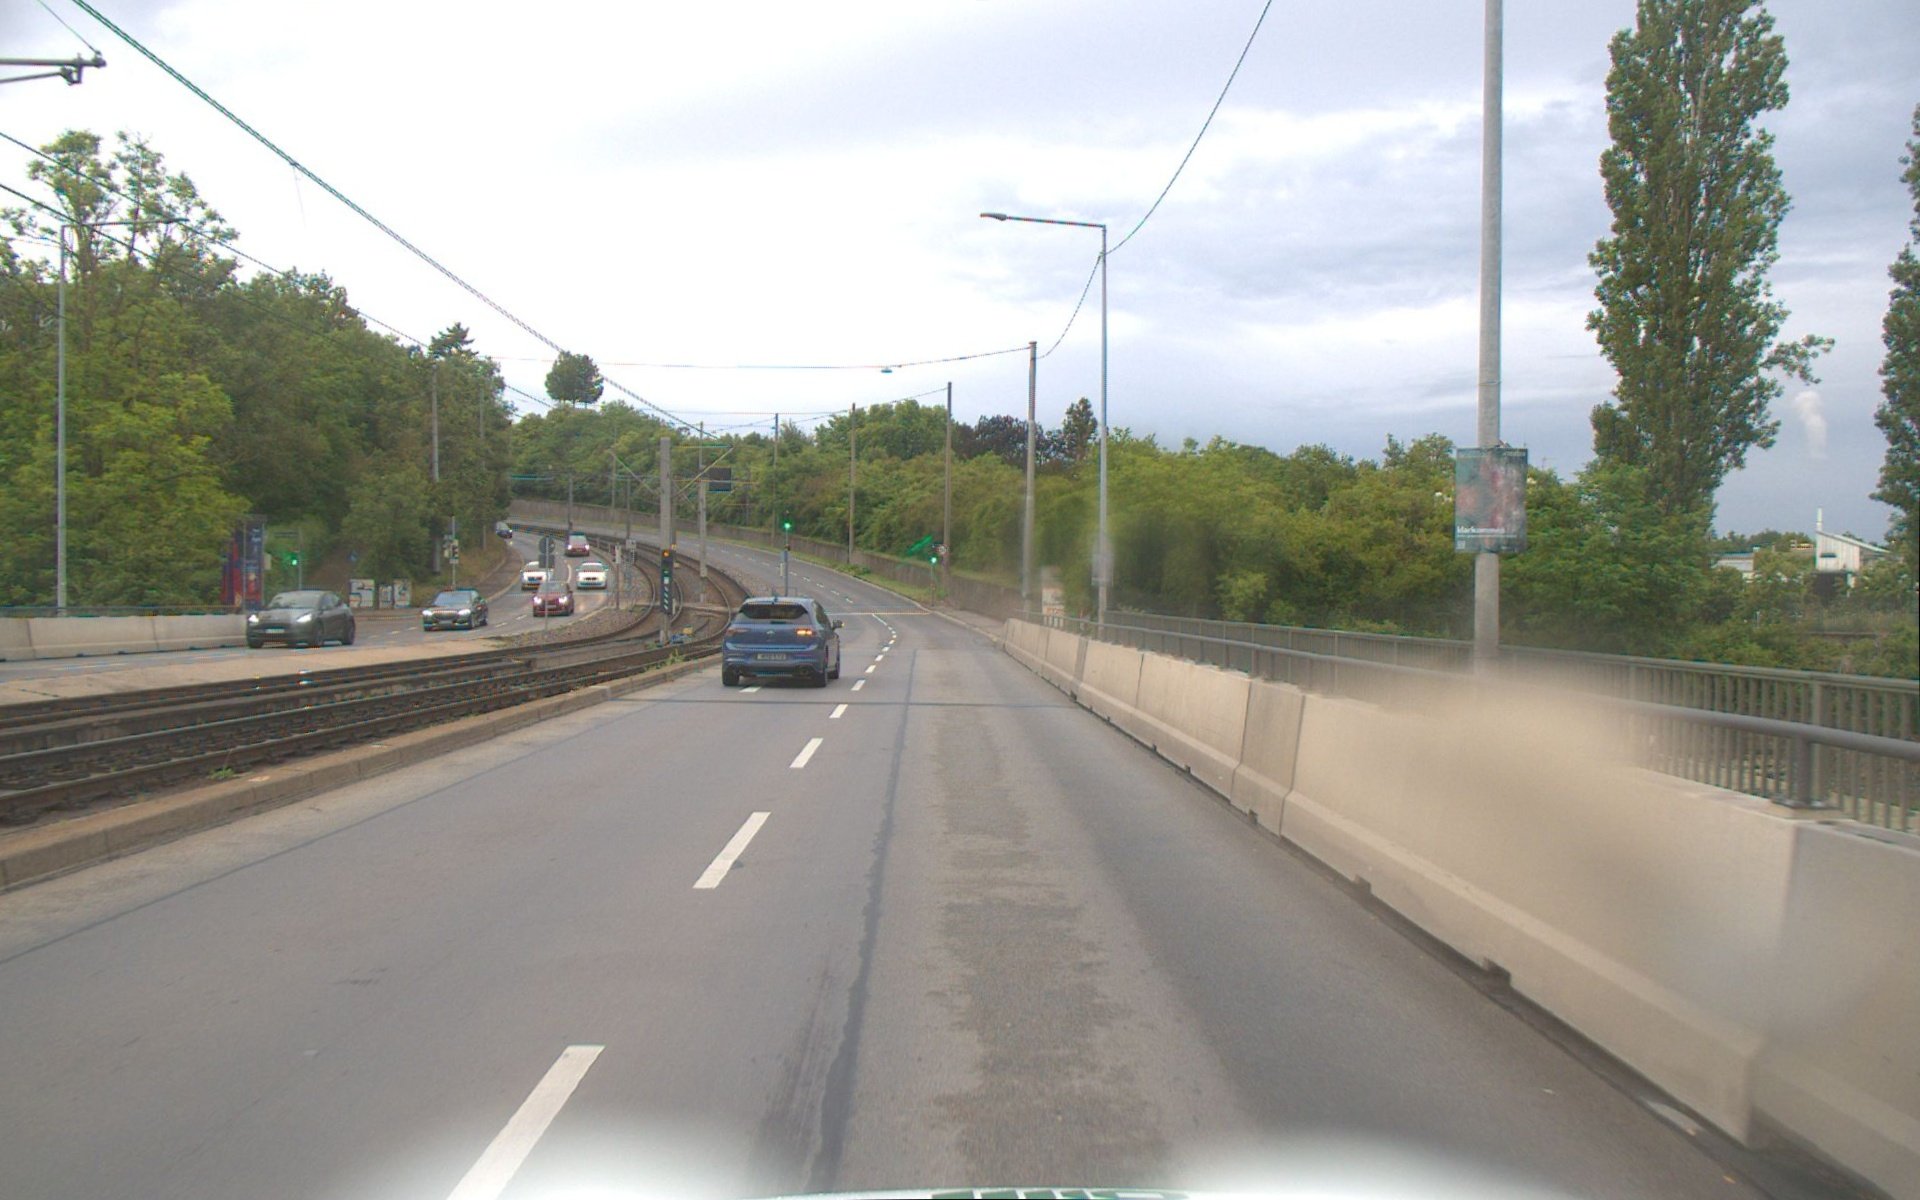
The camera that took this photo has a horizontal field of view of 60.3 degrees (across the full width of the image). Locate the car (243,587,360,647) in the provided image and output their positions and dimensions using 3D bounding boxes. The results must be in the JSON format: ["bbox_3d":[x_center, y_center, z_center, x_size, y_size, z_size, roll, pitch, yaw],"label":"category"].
[{"bbox_3d":[-18.986,0.448,47.905,1.859,1.625,4.727,-1,0,-5],"label":"car"}]

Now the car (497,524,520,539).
[{"bbox_3d":[-45.818,-6.944,167.705,1.693,1.483,4.246,-1,3,-23],"label":"car"}]

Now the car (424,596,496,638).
[{"bbox_3d":[-20.303,0.729,67.360,1.932,1.625,5.176,-1,-1,-7],"label":"car"}]

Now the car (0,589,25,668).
[{"bbox_3d":[-18.578,0.529,28.934,1.779,1.461,4.740,1,0,0],"label":"car"}]

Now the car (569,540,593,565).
[{"bbox_3d":[-31.130,-3.944,135.772,1.817,1.623,4.718,-1,7,-15],"label":"car"}]

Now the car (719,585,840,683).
[{"bbox_3d":[-3.048,0.566,28.621,1.728,1.527,3.998,1,0,-2],"label":"car"}]

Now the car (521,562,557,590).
[{"bbox_3d":[-25.099,-1.431,98.683,1.788,1.541,4.517,0,0,-11],"label":"car"}]

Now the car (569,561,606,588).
[{"bbox_3d":[-22.119,-1.491,98.114,1.703,1.462,4.468,0,-1,-18],"label":"car"}]

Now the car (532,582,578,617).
[{"bbox_3d":[-18.732,-0.027,76.582,1.569,1.519,3.015,-1,1,-5],"label":"car"}]
